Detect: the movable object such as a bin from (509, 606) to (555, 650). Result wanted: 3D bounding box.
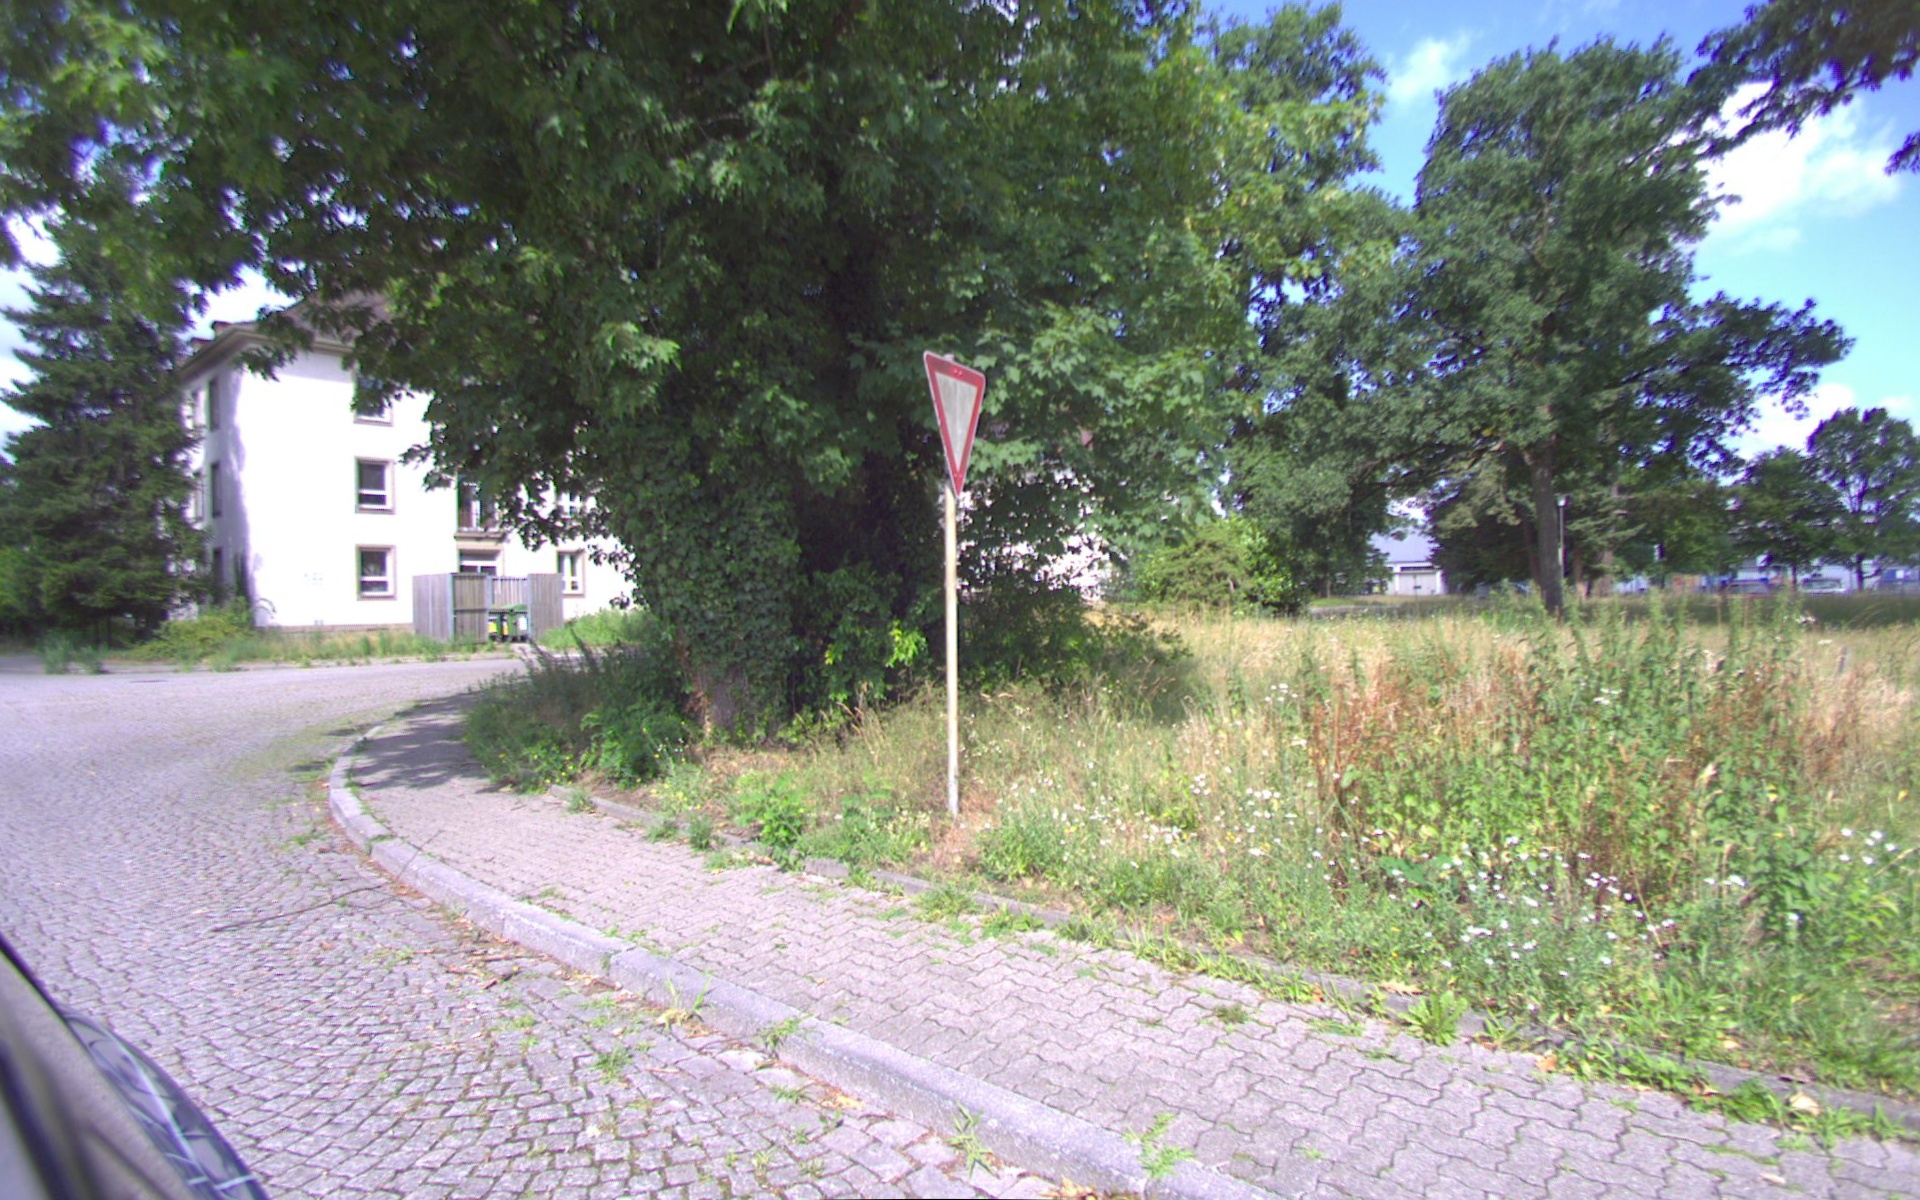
[{"bbox_3d":[-15.641,1.006,36.988,1.151,1.542,1.158,-1,-1,38],"label":"movable object such as a bin"}]

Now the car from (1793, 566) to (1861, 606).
[{"bbox_3d":[33.613,-0.521,39.322,1.899,1.423,4.017,-1,0,40],"label":"car"}]

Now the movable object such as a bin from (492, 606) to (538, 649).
[{"bbox_3d":[-16.577,1.026,37.737,1.151,1.542,1.158,-1,-1,38],"label":"movable object such as a bin"}]
